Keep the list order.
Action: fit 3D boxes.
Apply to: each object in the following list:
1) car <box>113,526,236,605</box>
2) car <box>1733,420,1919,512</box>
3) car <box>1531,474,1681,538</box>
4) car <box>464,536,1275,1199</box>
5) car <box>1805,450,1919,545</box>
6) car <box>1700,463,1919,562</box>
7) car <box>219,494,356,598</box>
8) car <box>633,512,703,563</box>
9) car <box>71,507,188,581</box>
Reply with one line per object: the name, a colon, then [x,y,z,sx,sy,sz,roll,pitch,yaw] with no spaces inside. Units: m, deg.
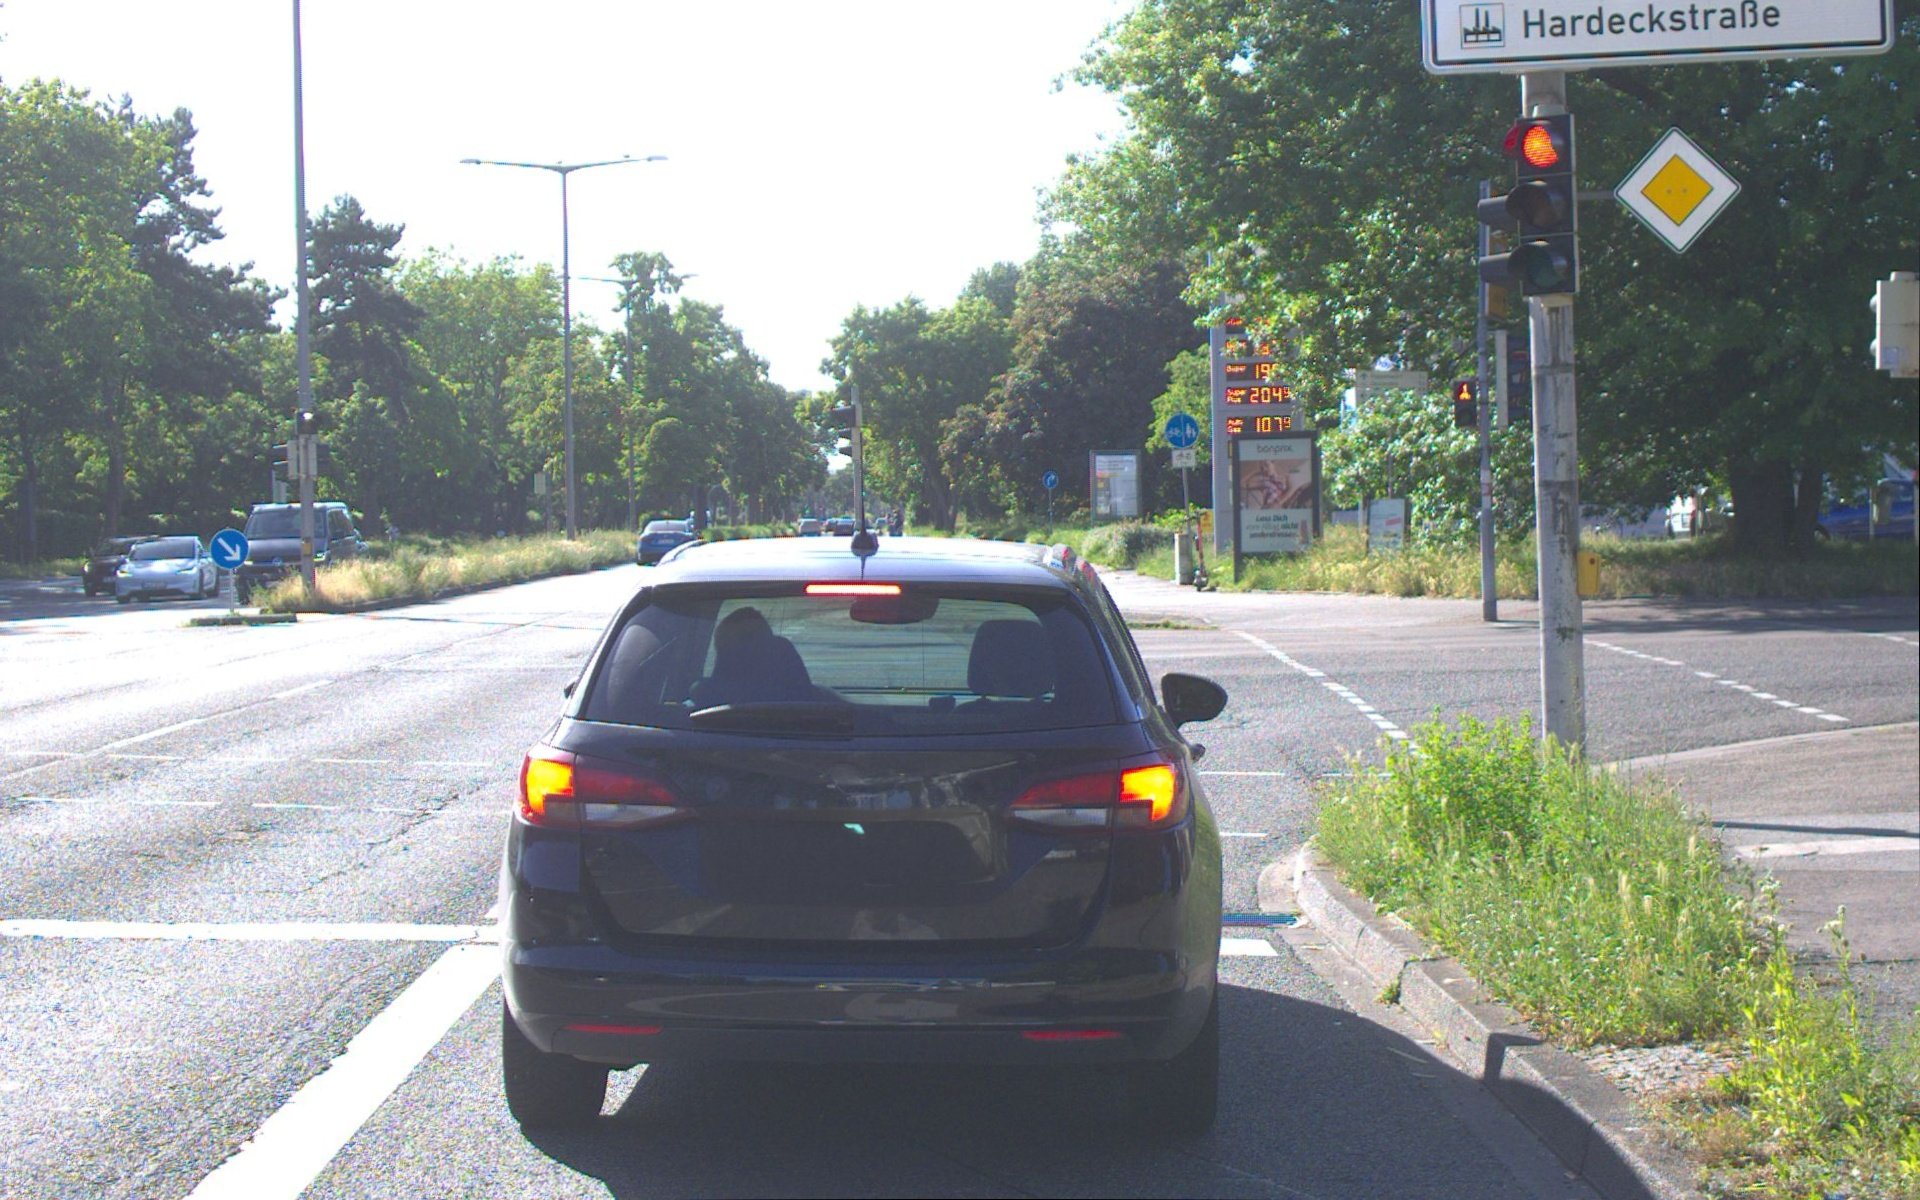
car: [-17.566,-0.784,77.052,1.864,1.678,4.000,1,1,-1]
car: [17.291,-2.621,67.636,3.711,1.679,1.704,1,1,-3]
car: [17.758,-2.574,94.599,3.711,1.679,1.704,1,1,-3]
car: [-0.226,0.588,9.361,1.755,1.504,3.809,0,1,-1]
car: [16.670,-1.743,59.457,3.836,1.558,1.805,1,1,-32]
car: [15.348,-1.560,61.820,3.711,1.679,1.704,1,1,-27]
car: [-13.537,-1.090,69.387,1.993,2.007,4.000,1,1,-1]
car: [-9.208,-1.974,108.585,1.888,1.546,4.000,-1,1,-1]
car: [-21.299,-1.452,88.302,1.993,1.744,4.001,-3,2,-1]
